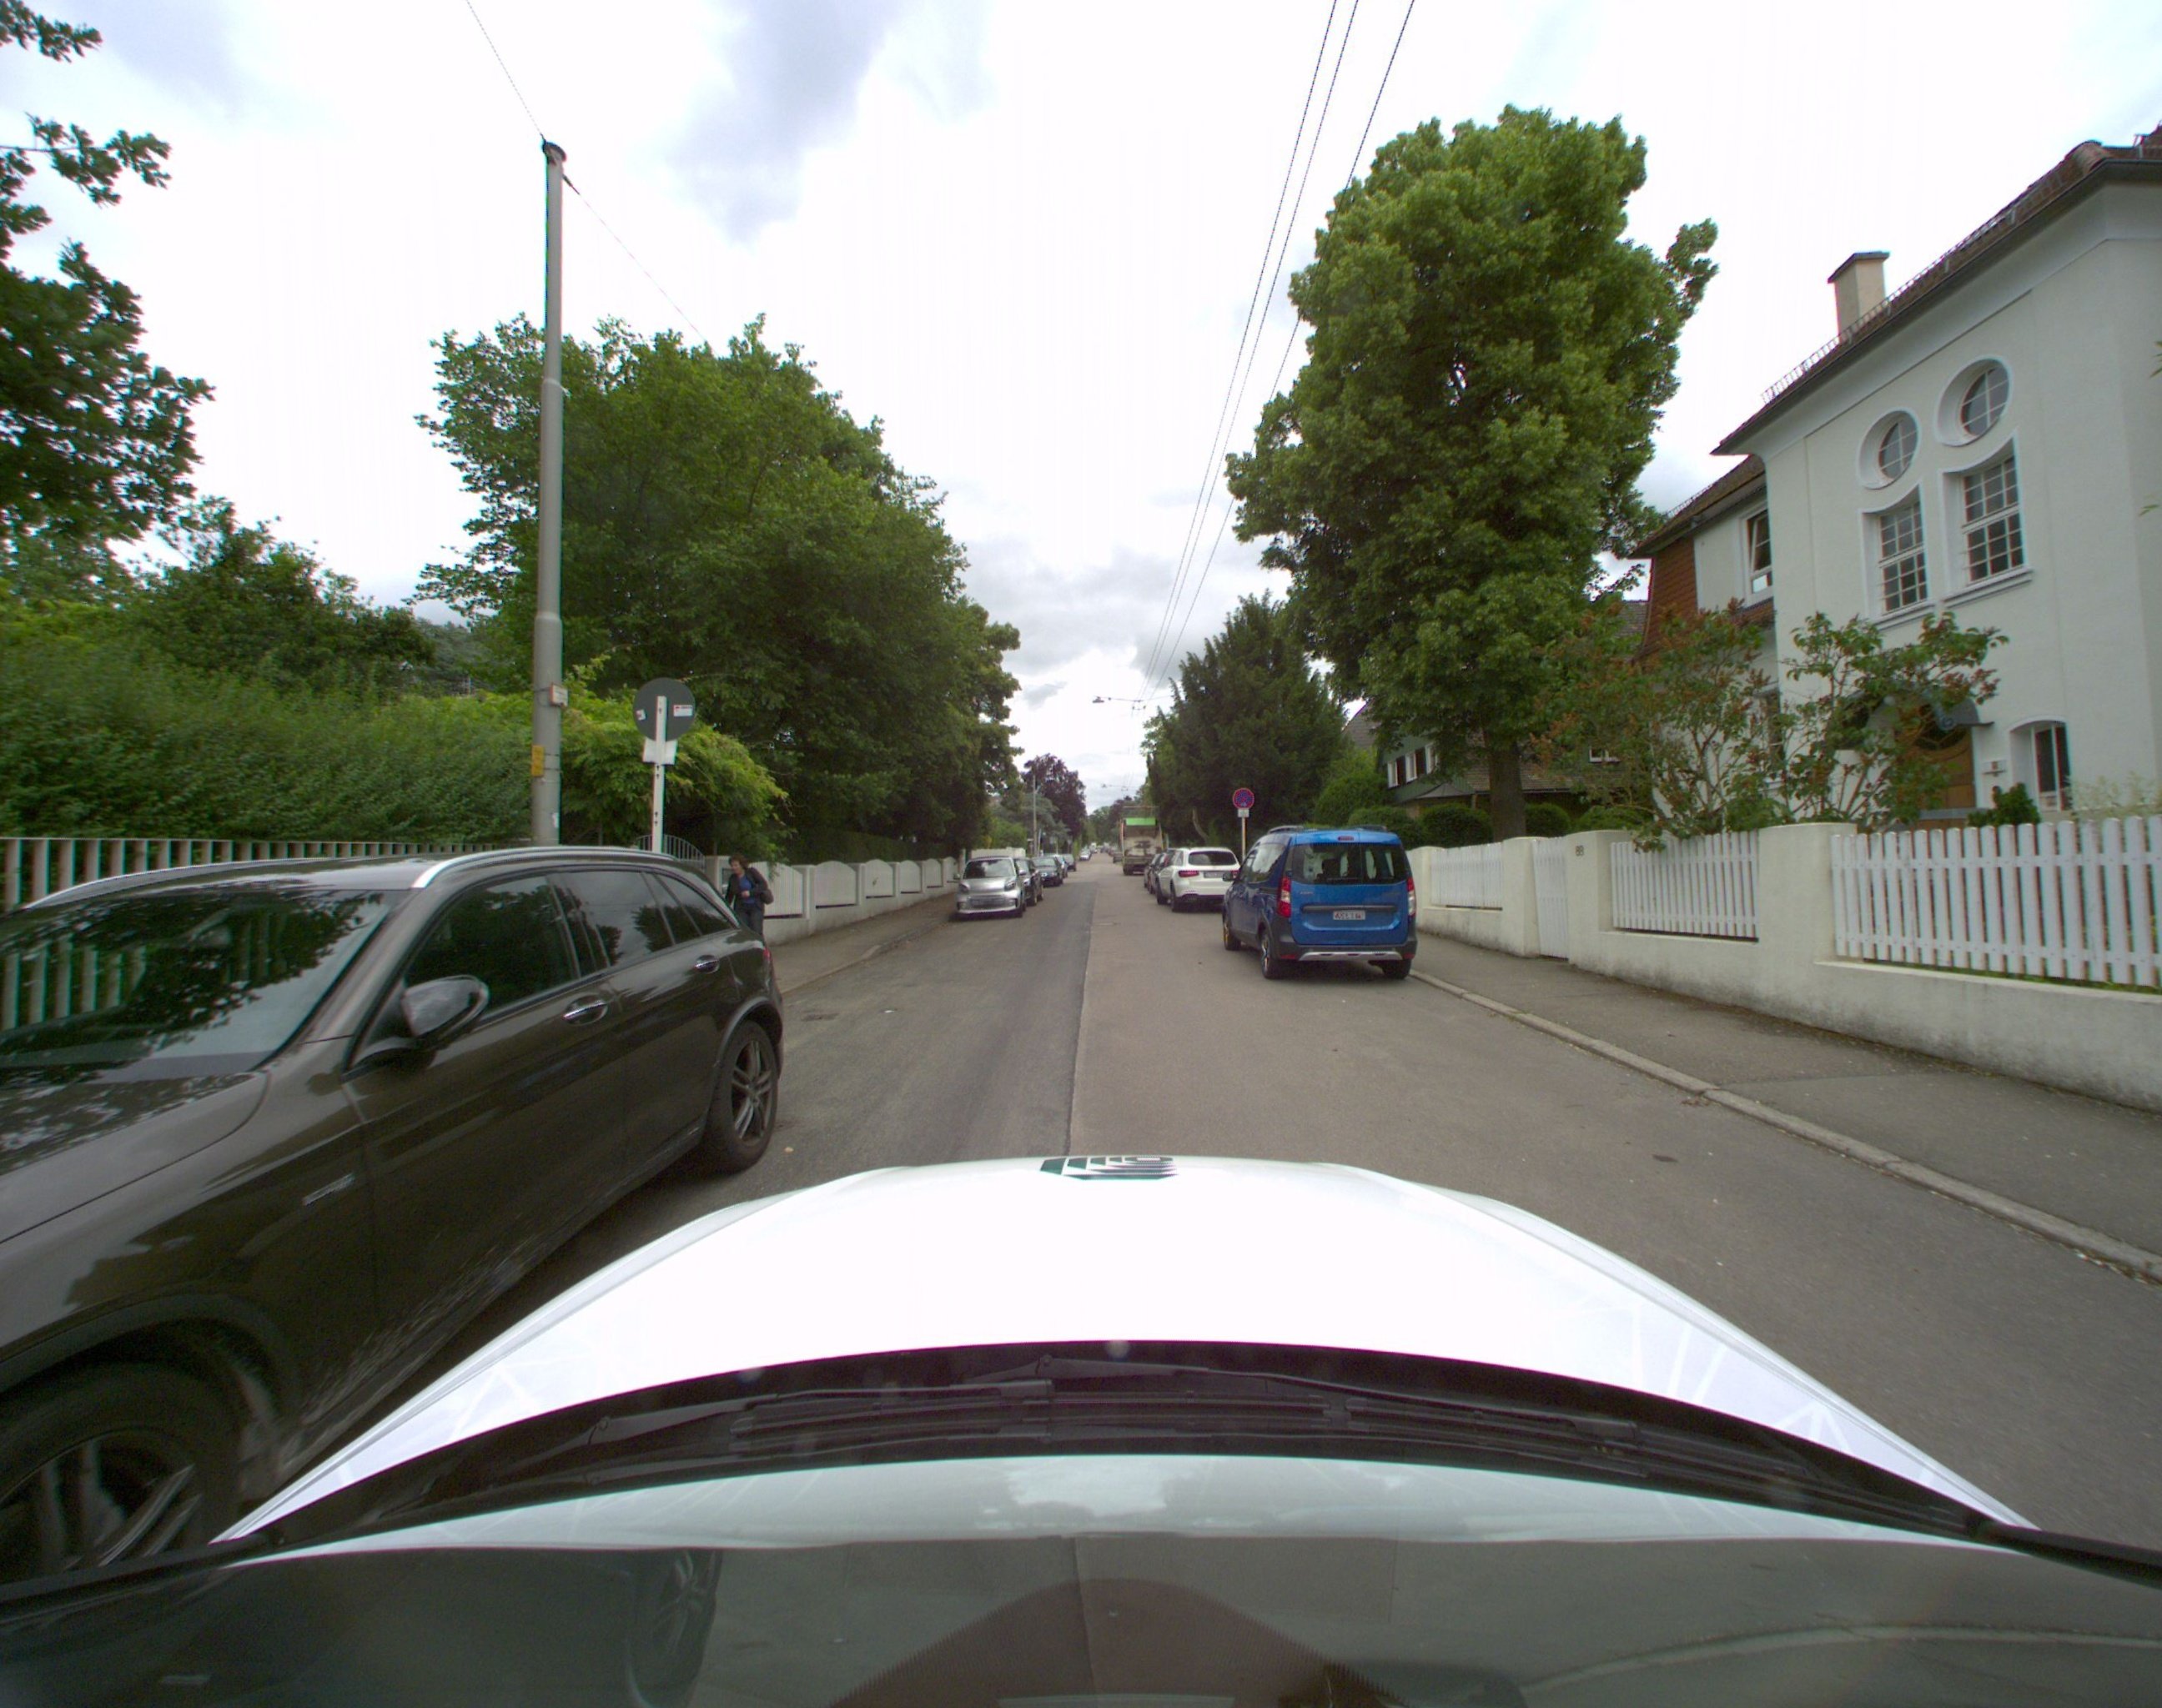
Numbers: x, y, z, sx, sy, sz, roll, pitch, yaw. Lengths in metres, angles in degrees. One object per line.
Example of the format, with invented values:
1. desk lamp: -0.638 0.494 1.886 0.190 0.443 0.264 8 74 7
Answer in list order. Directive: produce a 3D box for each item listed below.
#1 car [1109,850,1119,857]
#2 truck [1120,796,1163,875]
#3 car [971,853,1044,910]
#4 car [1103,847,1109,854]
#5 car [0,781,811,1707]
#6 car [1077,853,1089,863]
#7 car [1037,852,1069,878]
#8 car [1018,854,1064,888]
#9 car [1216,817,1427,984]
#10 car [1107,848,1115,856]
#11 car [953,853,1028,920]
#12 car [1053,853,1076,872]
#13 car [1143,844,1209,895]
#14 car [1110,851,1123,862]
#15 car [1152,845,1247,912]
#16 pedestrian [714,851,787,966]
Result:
1. car: 6.707 -0.197 165.885 1.804 1.335 3.632 0 1 0
2. truck: 3.796 -1.128 52.661 2.515 4.748 7.190 0 0 2
3. car: -2.170 0.771 24.995 1.649 1.481 3.890 -4 0 2
4. car: 6.309 -0.864 205.284 1.628 1.701 3.494 -1 1 1
5. car: -2.532 0.737 2.745 1.785 1.623 4.341 -2 0 -1
6. car: 0.330 0.679 142.404 1.704 1.586 4.005 -1 0 4
7. car: -1.694 0.647 50.295 1.589 1.433 4.002 -3 0 2
8. car: -1.861 0.744 38.855 1.634 1.422 4.553 -4 0 3
9. car: 3.014 0.498 11.110 1.677 1.829 4.157 1 0 1
10. car: 6.424 -0.415 174.792 1.782 1.529 3.737 -1 0 3
11. car: -2.302 0.785 21.295 1.618 1.533 2.960 -3 0 -2
12. car: -1.310 0.648 65.700 1.632 1.395 3.988 -3 0 0
13. car: 3.189 0.495 28.032 1.693 1.570 4.307 -2 0 0
14. car: 5.320 0.367 122.335 1.773 1.489 4.000 -1 0 0
15. car: 3.066 0.586 21.964 1.753 1.606 4.571 0 0 -2
16. pedestrian: -4.711 0.750 11.639 0.606 1.546 0.798 4 0 0
